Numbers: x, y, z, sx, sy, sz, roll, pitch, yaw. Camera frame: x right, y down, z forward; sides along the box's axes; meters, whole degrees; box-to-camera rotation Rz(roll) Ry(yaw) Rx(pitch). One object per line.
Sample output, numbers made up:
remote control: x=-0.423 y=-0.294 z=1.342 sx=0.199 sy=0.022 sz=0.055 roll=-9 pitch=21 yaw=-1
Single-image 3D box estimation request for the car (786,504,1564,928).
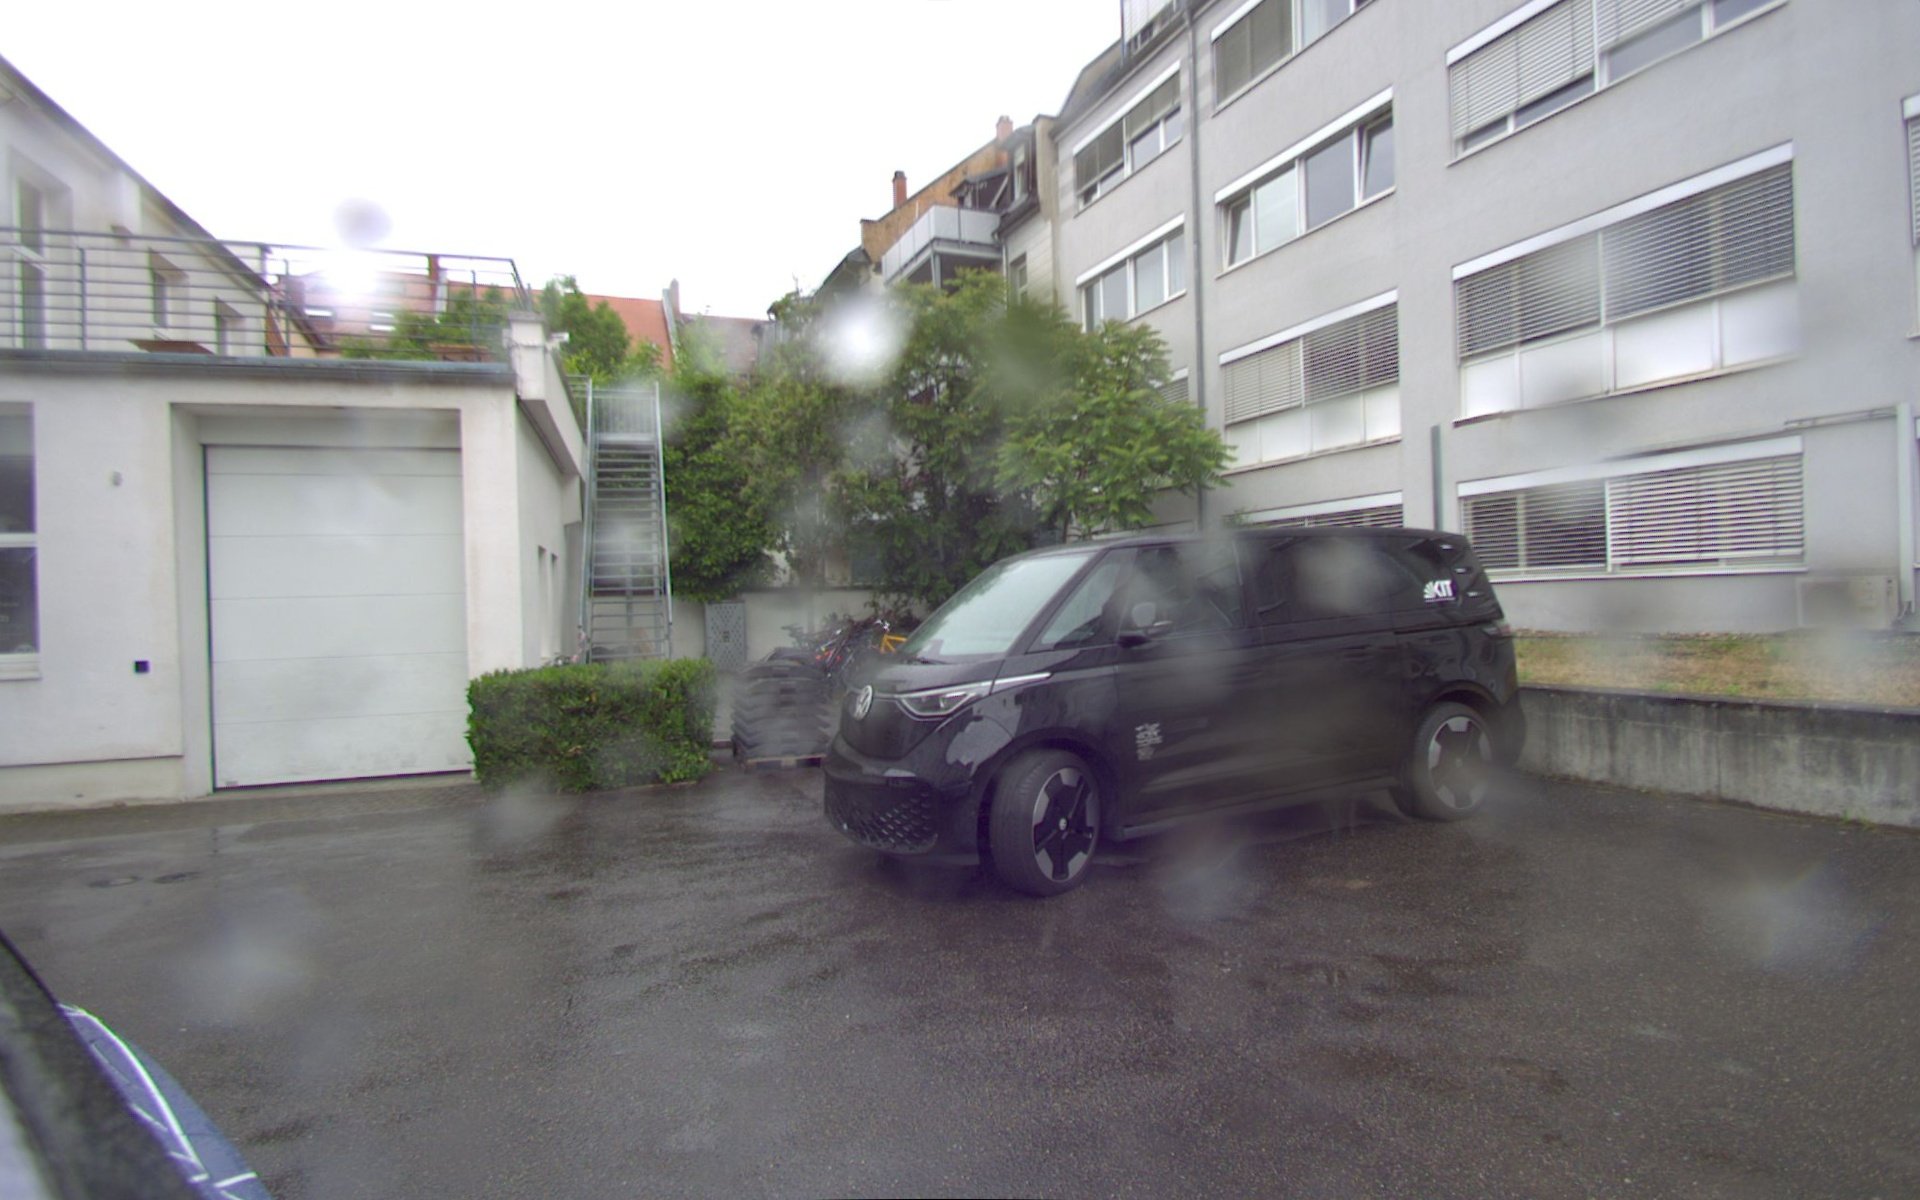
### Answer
car: x=1.373 y=0.482 z=6.449 sx=4.444 sy=1.911 sz=2.053 roll=-2 pitch=-1 yaw=-25
